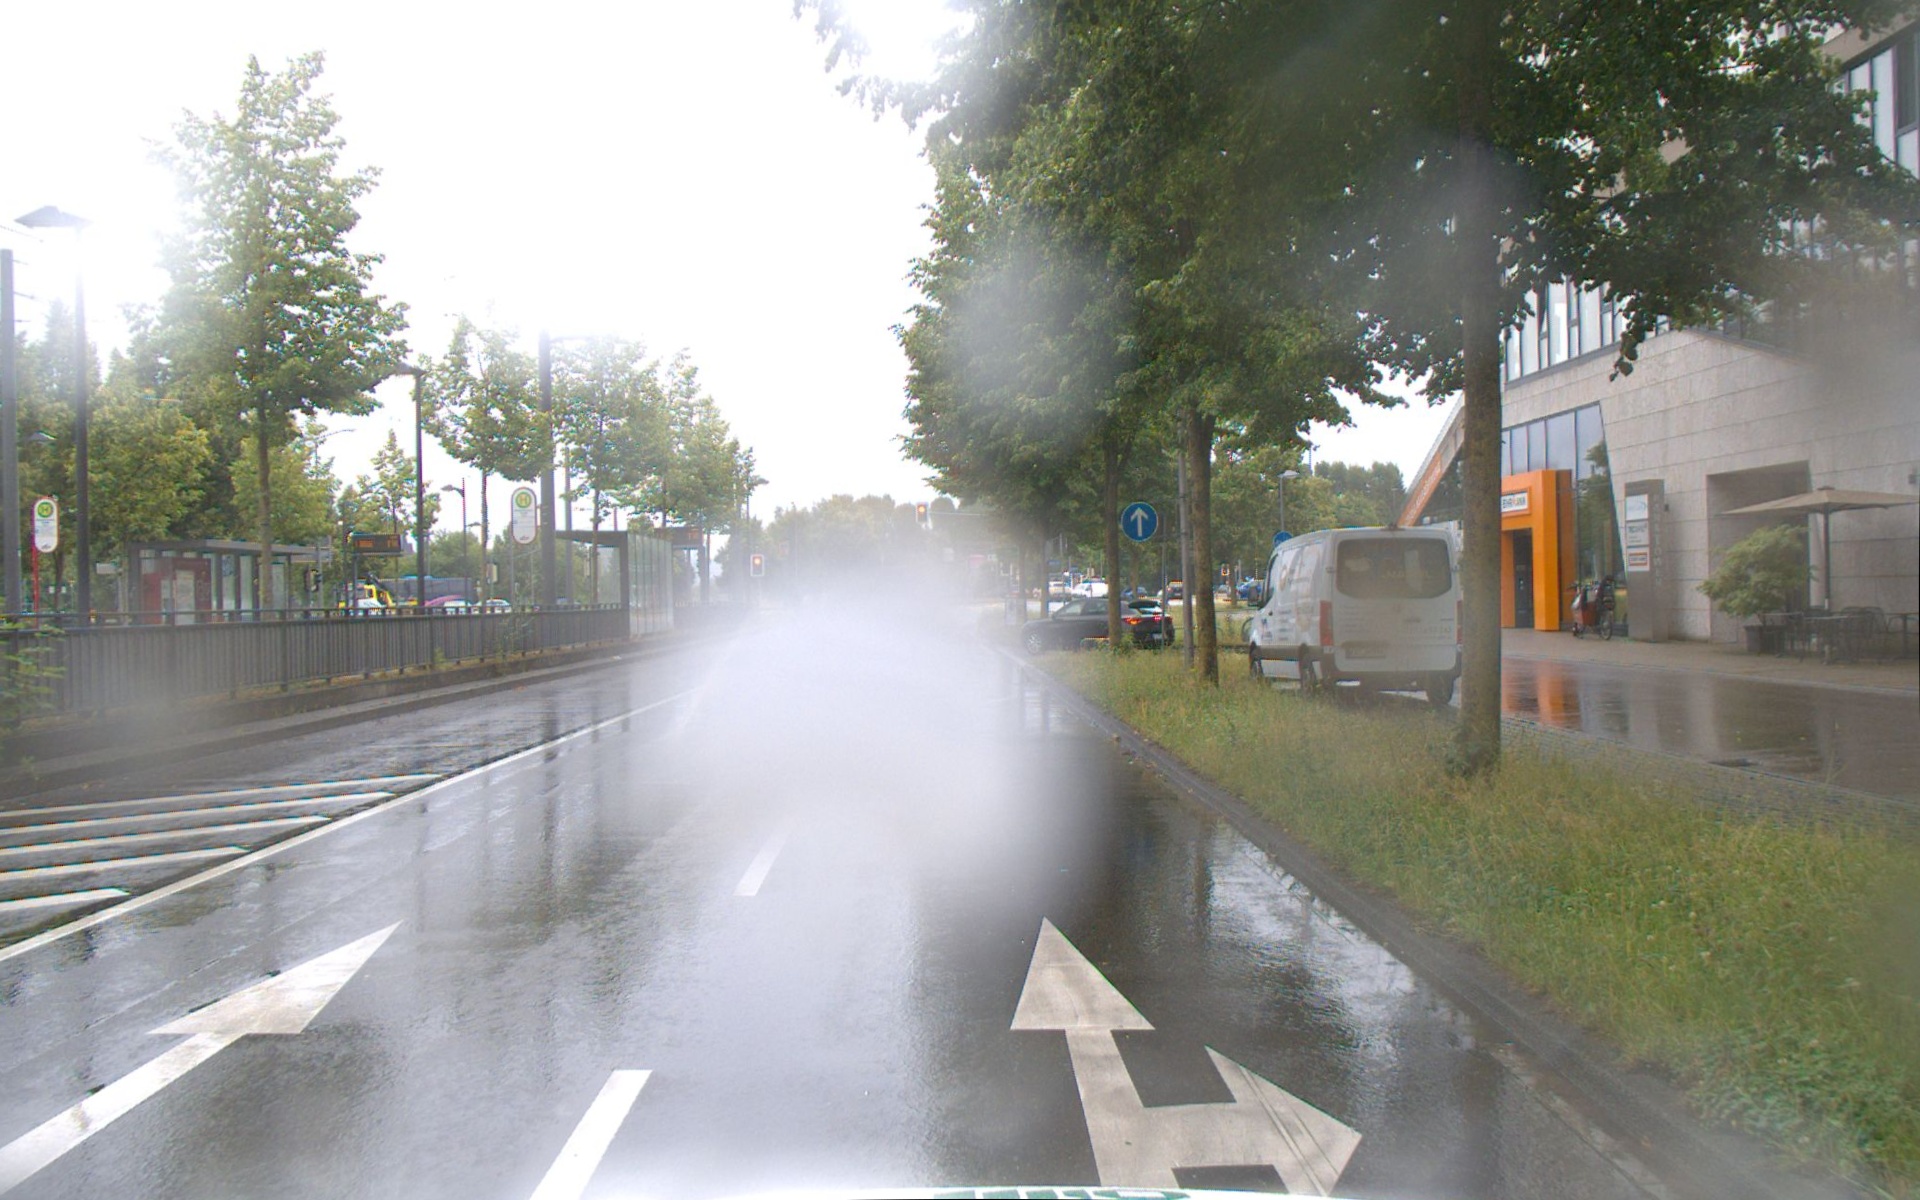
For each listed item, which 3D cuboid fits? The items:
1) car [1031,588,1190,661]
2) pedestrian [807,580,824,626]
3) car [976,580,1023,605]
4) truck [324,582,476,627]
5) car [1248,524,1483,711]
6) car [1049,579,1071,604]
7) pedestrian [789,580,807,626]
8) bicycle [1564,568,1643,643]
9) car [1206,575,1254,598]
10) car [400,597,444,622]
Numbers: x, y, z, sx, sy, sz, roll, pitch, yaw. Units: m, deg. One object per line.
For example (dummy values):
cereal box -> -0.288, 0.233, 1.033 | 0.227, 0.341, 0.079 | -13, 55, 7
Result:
car -> 3.621, 0.551, 40.477 | 1.799, 1.571, 3.954 | -4, 3, -33
pedestrian -> -6.611, 0.144, 75.670 | 0.683, 2.048, 0.656 | -2, 2, -1
car -> 3.201, -0.586, 134.290 | 3.380, 1.869, 1.714 | -1, 3, 30
truck -> -42.633, 0.274, 126.846 | 3.436, 3.202, 14.920 | -2, 0, 14
car -> 5.627, 0.207, 23.596 | 2.078, 2.313, 4.563 | -2, 0, -1
car -> 7.707, -0.649, 127.535 | 1.589, 1.729, 3.458 | -2, 3, 2
pedestrian -> -7.307, 0.130, 74.597 | 0.683, 2.048, 0.656 | -2, 2, -1
bicycle -> 14.730, 0.095, 37.925 | 0.652, 1.561, 2.764 | -2, 3, -1
car -> 21.531, -1.070, 132.039 | 3.380, 1.729, 1.626 | -1, 3, 30
car -> -44.725, 0.780, 137.512 | 1.617, 1.786, 3.922 | -2, 3, 12
